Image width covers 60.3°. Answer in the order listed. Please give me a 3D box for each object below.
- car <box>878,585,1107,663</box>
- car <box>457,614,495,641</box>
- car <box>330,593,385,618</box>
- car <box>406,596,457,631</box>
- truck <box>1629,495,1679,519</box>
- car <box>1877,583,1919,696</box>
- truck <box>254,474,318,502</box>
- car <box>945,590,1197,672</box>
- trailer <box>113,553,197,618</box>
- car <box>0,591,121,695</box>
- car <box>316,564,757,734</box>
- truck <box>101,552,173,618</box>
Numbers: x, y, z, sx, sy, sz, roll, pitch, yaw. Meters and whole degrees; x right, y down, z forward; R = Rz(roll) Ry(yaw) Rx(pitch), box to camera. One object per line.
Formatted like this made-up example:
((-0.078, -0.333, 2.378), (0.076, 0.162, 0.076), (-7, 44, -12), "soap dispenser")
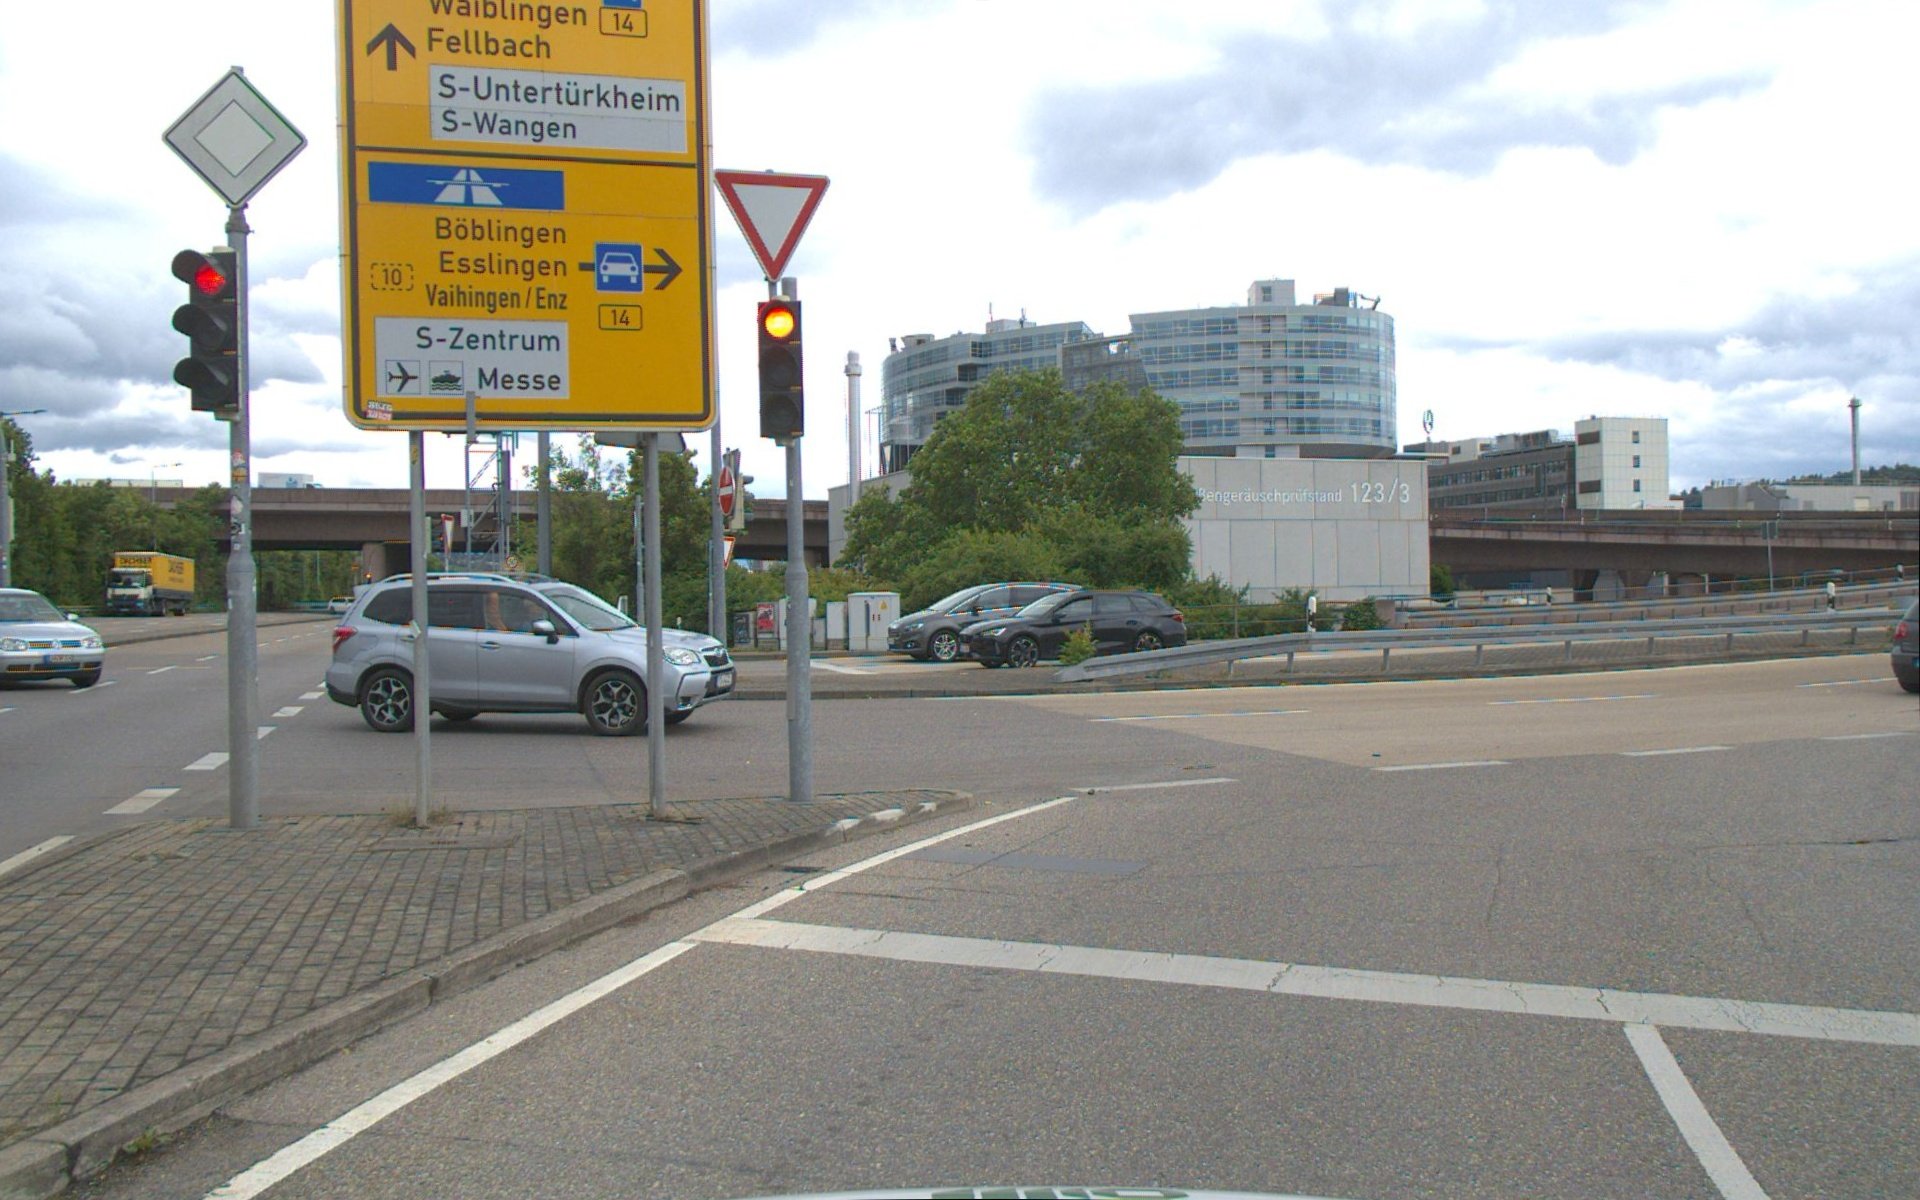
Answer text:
((0.693, 0.493, 35.980), (4.608, 1.599, 1.945), (0, 1, -19), "car")
((-28.205, 1.639, 96.538), (1.960, 1.490, 4.094), (1, -2, -14), "car")
((-52.076, 0.488, 142.967), (3.902, 1.892, 2.002), (3, 0, 8), "car")
((-23.728, 0.641, 74.351), (1.961, 1.467, 4.092), (1, -2, -16), "car")
((74.563, -10.028, 177.775), (4.493, 2.209, 2.000), (3, 0, 1), "truck")
((14.878, 0.446, 22.803), (4.174, 1.487, 1.717), (-3, 1, -23), "car")
((-61.383, -10.226, 150.687), (4.953, 2.362, 2.001), (1, 0, 4), "truck")
((2.162, 0.553, 32.187), (4.543, 1.482, 1.942), (0, 1, -23), "car")
((-55.335, -1.037, 113.964), (2.824, 4.155, 11.383), (2, 0, -14), "trailer")
((-14.370, 0.592, 24.681), (3.986, 1.425, 1.723), (0, 1, 37), "car")
((-4.677, 0.514, 18.475), (4.443, 1.767, 1.731), (0, 1, 11), "car")
((-54.022, -0.995, 108.741), (2.824, 4.155, 6.462), (2, 0, -15), "truck")
